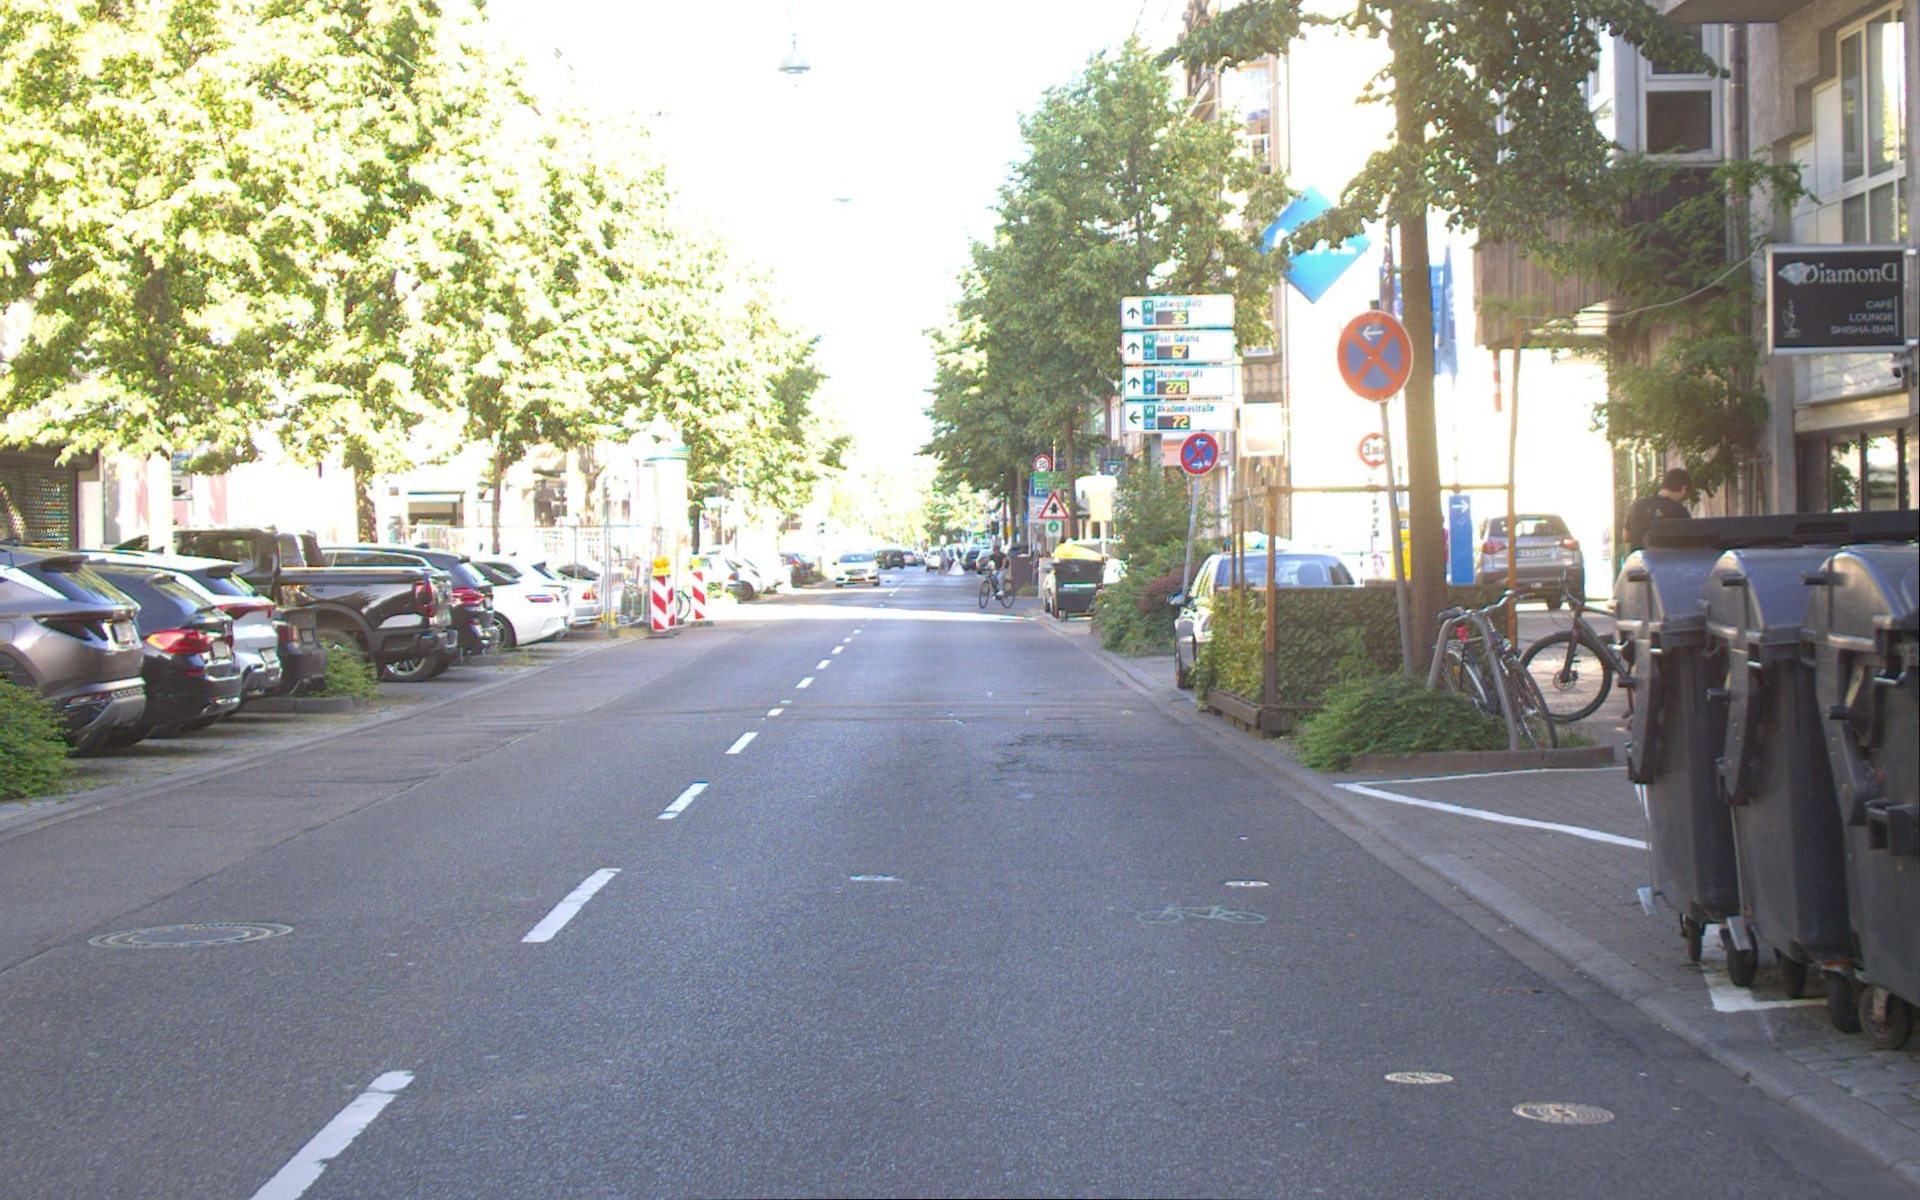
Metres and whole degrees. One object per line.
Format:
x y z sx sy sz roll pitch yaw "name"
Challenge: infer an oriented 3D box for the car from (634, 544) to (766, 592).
-8.137 -1.008 107.926 3.987 1.385 2.000 -1 1 -1 "car"

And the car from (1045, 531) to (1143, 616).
2.859 -0.591 74.195 1.822 1.673 4.601 -3 1 0 "car"

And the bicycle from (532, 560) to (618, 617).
-8.493 -0.262 75.816 1.788 1.248 0.600 0 1 11 "bicycle"

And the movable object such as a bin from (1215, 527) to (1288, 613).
5.695 -0.597 67.305 1.205 1.622 1.498 -2 1 -2 "movable object such as a bin"

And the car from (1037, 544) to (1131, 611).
2.839 -0.538 79.517 1.822 1.386 4.301 -3 1 -1 "car"

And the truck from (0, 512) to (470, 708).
-7.974 0.094 37.003 5.084 1.931 2.000 -2 1 -1 "truck"

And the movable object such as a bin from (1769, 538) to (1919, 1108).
3.050 0.549 9.353 1.399 1.449 1.146 -1 1 0 "movable object such as a bin"

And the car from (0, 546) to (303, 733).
-8.221 0.328 29.813 4.680 1.566 1.808 0 1 1 "car"

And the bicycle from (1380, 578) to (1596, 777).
3.332 0.465 21.887 0.607 1.116 2.056 -8 2 -9 "bicycle"

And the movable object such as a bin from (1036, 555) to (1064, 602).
2.272 -0.545 86.999 0.621 1.176 0.712 -1 1 -2 "movable object such as a bin"

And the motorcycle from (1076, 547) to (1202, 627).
3.098 -0.228 59.545 1.977 1.325 0.912 -1 1 -12 "motorcycle"

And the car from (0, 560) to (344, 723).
-8.262 0.375 32.038 4.680 1.458 1.808 0 1 1 "car"

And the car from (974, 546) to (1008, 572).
1.857 -2.465 207.081 1.993 1.503 4.000 0 0 -1 "car"

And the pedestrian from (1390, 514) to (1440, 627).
7.597 -0.497 57.406 0.707 1.843 0.688 -2 1 1 "pedestrian"

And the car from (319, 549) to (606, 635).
-8.403 -0.144 58.353 4.680 1.407 1.808 0 1 -3 "car"

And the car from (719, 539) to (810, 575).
-8.746 -1.929 154.373 3.987 1.494 2.000 -1 1 -1 "car"

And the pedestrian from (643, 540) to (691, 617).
-6.540 -0.491 76.664 0.792 1.702 0.767 -1 1 -33 "pedestrian"

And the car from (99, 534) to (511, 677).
-7.996 0.057 42.216 4.680 1.687 1.808 0 1 1 "car"

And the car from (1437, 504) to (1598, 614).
8.877 -0.664 55.067 1.901 1.642 4.293 -2 1 1 "car"

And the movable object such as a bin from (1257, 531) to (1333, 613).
6.411 -0.540 65.937 1.270 1.525 1.177 -2 1 -2 "movable object such as a bin"

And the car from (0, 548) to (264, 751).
-7.954 0.368 26.745 4.680 1.514 1.808 0 1 1 "car"

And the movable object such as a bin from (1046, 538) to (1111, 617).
2.410 -0.468 69.880 1.143 1.556 1.459 -1 1 8 "movable object such as a bin"

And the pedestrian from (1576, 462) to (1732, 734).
5.032 -0.017 24.917 0.926 1.929 0.760 -1 1 25 "pedestrian"

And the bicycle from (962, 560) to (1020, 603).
0.807 -0.484 89.338 0.767 1.055 1.953 -1 1 24 "bicycle"

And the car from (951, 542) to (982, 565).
0.420 -3.044 226.545 1.993 1.503 4.000 0 0 -1 "car"

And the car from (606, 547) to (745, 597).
-8.427 -0.845 102.141 3.987 1.385 2.000 -1 1 -1 "car"

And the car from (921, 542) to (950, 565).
-1.579 -3.010 220.649 1.792 1.406 4.000 -1 1 -1 "car"

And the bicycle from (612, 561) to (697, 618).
-6.749 -0.241 75.991 1.854 1.248 0.600 0 1 -8 "bicycle"

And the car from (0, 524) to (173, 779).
-8.065 0.346 24.062 4.680 1.706 1.808 0 1 1 "car"

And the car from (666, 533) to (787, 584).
-8.190 -1.456 120.834 3.987 1.688 2.000 -1 1 5 "car"

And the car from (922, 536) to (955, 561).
-1.284 -3.069 205.966 1.822 1.386 4.301 -3 1 -1 "car"

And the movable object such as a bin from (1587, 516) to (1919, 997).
2.916 0.490 11.680 1.330 1.537 1.146 -1 1 0 "movable object such as a bin"

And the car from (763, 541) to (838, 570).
-8.742 -2.444 188.570 3.987 1.494 2.000 -1 1 -1 "car"

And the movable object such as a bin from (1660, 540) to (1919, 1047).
2.973 0.543 10.516 1.399 1.449 1.146 -1 1 0 "movable object such as a bin"

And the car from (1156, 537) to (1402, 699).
3.076 0.129 34.081 1.901 1.407 4.647 -3 1 -1 "car"

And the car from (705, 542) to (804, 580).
-8.570 -1.622 143.605 3.987 1.494 2.000 -1 1 -1 "car"

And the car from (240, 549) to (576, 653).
-8.042 -0.004 50.395 4.680 1.460 1.808 0 1 -3 "car"

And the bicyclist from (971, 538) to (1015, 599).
0.852 -0.819 89.400 0.767 1.555 1.039 -1 1 24 "bicyclist"

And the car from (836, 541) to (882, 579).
-4.175 -1.664 142.243 1.802 1.430 4.410 -3 1 -1 "car"

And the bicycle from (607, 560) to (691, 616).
-6.968 -0.280 77.005 1.854 1.248 0.600 0 1 -8 "bicycle"

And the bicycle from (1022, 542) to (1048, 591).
2.315 -1.047 106.042 0.560 1.436 1.628 -7 1 0 "bicycle"

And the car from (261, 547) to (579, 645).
-8.281 -0.070 53.043 4.680 1.460 1.808 0 1 -3 "car"

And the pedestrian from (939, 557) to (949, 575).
-0.948 -2.019 203.911 0.545 1.023 0.546 -2 1 -2 "pedestrian"

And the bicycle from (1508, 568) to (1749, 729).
4.979 0.349 25.676 0.680 1.145 1.684 -2 1 -42 "bicycle"
